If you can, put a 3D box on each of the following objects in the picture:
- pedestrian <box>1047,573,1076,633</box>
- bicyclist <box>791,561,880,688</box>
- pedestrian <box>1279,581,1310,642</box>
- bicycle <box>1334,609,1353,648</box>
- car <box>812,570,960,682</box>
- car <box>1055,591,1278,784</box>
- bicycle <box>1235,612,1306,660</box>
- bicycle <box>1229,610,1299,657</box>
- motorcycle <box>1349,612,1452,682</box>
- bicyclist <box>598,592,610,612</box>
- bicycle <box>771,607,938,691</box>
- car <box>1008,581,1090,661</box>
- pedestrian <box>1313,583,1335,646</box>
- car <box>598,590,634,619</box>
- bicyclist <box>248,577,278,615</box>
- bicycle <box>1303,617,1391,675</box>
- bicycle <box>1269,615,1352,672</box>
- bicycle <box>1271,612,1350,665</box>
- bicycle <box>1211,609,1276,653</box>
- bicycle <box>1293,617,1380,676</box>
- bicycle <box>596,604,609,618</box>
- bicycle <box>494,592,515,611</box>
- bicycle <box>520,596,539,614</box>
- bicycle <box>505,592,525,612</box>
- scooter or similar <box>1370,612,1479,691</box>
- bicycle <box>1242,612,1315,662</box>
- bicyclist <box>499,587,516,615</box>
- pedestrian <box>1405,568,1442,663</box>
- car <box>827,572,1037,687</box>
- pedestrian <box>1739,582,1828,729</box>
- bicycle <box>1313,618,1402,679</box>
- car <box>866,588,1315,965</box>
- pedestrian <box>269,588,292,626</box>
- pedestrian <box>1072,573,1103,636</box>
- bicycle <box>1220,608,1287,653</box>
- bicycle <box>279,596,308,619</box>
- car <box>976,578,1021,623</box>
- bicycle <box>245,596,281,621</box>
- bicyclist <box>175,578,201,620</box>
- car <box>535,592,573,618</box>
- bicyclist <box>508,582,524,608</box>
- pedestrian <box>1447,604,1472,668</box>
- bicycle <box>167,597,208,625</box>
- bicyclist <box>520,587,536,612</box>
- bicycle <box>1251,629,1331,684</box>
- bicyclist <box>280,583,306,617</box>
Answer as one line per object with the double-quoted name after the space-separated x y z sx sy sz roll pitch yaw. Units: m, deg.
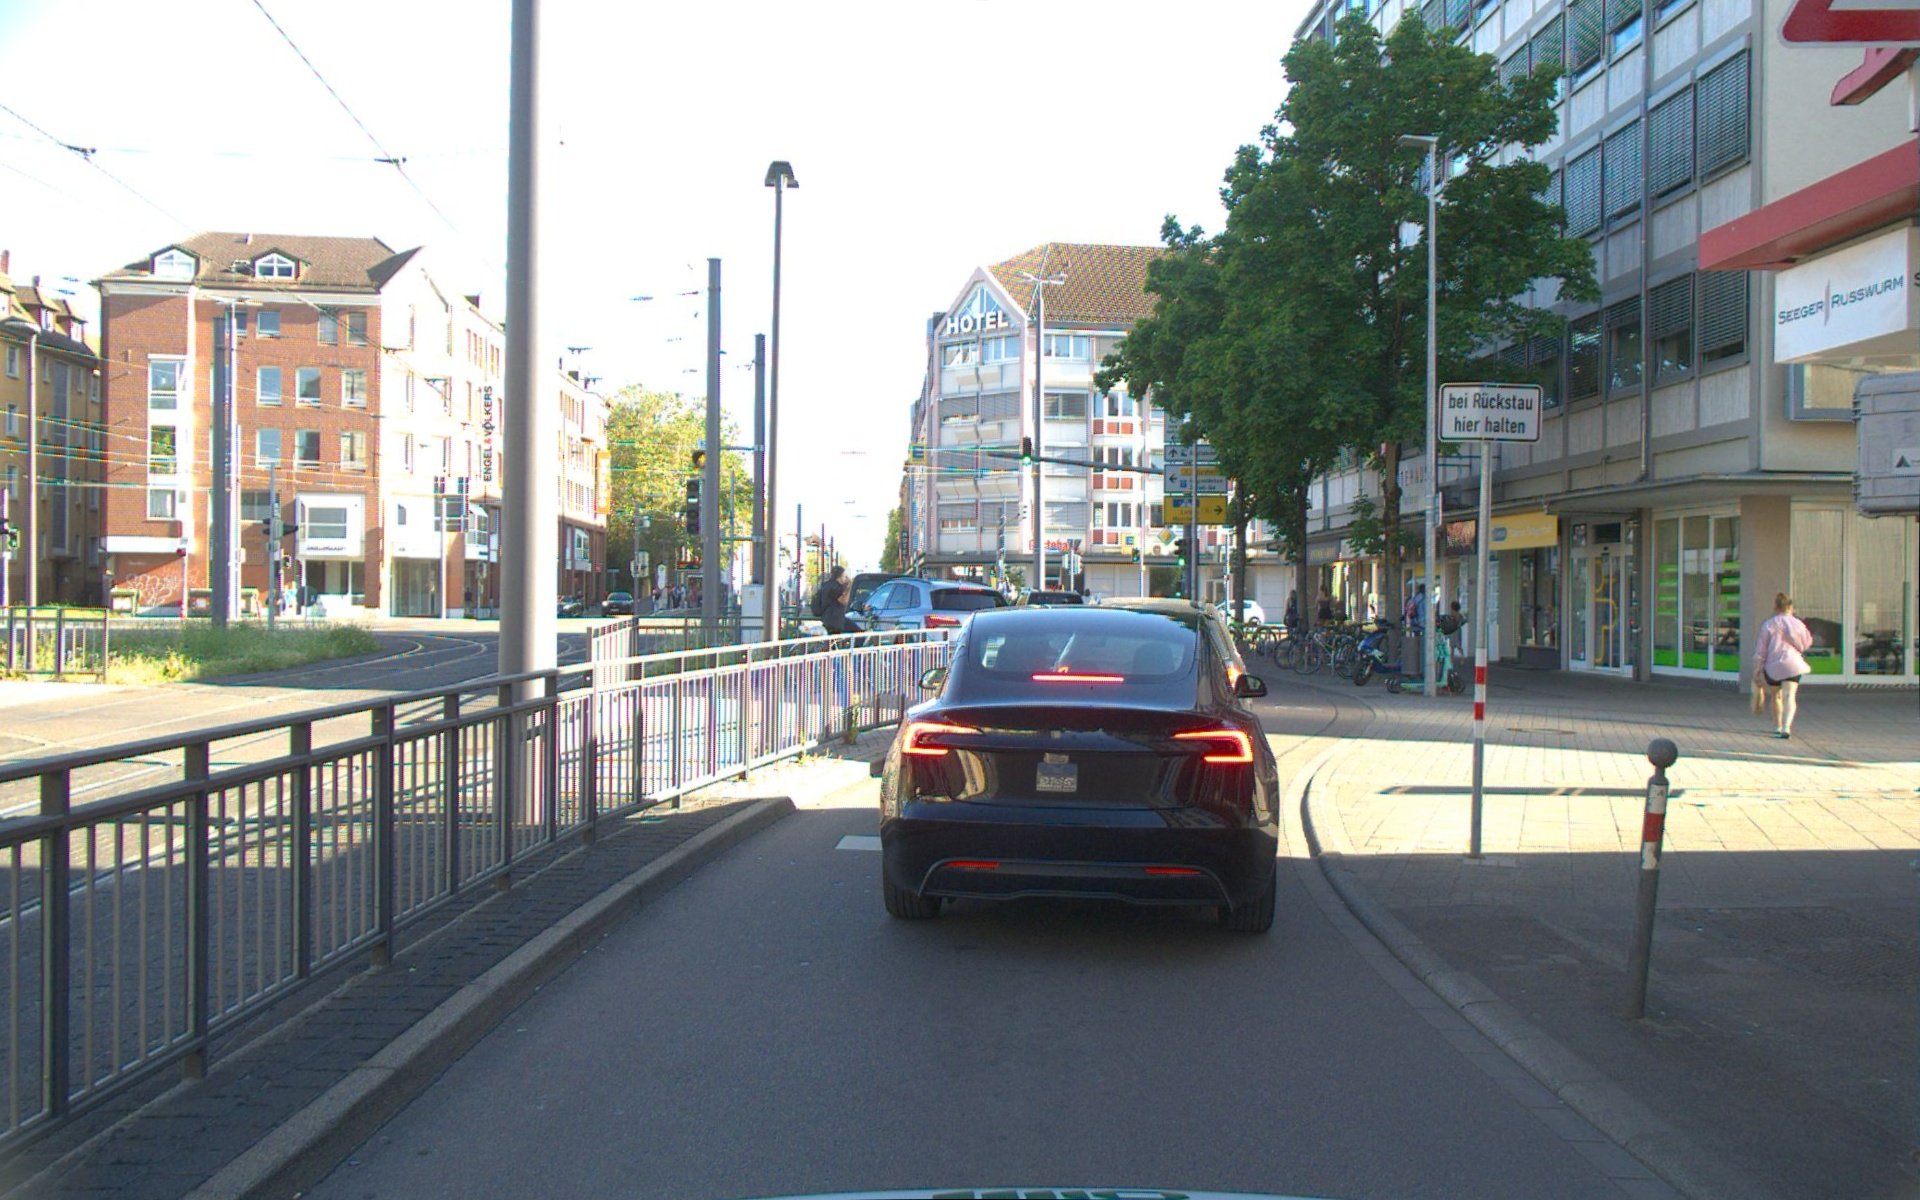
3.525 0.113 57.662 0.902 2.049 0.972 1 -1 -1 "pedestrian"
-1.674 0.320 22.137 0.753 1.657 0.964 1 -1 -39 "bicyclist"
9.397 0.327 46.454 0.685 1.691 0.777 1 -1 -1 "pedestrian"
10.688 0.791 46.146 0.325 1.052 1.257 1 0 4 "bicycle"
-1.522 0.484 32.514 1.962 2.049 3.981 0 0 -17 "car"
1.806 0.671 14.940 1.714 1.480 4.003 1 0 6 "car"
7.401 0.862 39.425 1.616 1.118 0.350 1 -1 1 "bicycle"
7.429 0.815 40.439 1.616 1.118 0.350 1 -1 1 "bicycle"
7.810 0.835 29.368 1.673 1.194 0.541 1 -1 -3 "motorcycle"
-28.815 0.162 133.871 0.767 1.590 0.746 1 -1 1 "bicyclist"
-1.408 0.653 22.387 2.313 1.072 0.622 1 -1 -39 "bicycle"
2.113 0.485 40.085 1.566 1.809 3.978 1 0 -3 "car"
10.233 0.406 46.543 0.515 1.740 0.403 1 -1 0 "pedestrian"
-21.964 0.291 105.713 1.663 1.762 3.704 1 0 -3 "car"
-28.359 -0.163 67.311 0.880 1.529 0.696 1 -1 -1 "bicyclist"
7.385 0.883 31.546 1.620 1.079 0.349 1 -1 -11 "bicycle"
7.097 0.882 33.492 1.620 1.118 0.349 1 -1 -11 "bicycle"
7.501 0.822 35.448 1.616 1.118 0.350 1 -1 1 "bicycle"
7.294 0.797 42.577 1.616 1.118 0.350 1 -1 1 "bicycle"
7.280 0.905 31.968 1.620 1.118 0.349 1 -1 -11 "bicycle"
-28.864 0.851 133.532 0.518 1.107 2.225 1 0 1 "bicycle"
-26.651 0.100 96.752 0.526 1.107 2.225 1 0 1 "bicycle"
-26.743 0.306 102.682 0.518 1.108 2.284 0 0 1 "bicycle"
-26.878 0.117 99.898 0.518 1.107 2.284 4 -1 1 "bicycle"
7.664 0.834 27.291 1.610 1.236 0.644 1 -1 30 "scooter or similar"
7.385 0.861 38.398 1.616 1.118 0.350 1 -1 1 "bicycle"
-26.609 0.069 97.217 0.768 1.590 0.746 1 -1 0 "bicyclist"
10.098 0.339 36.048 0.648 2.049 0.579 1 -1 1 "pedestrian"
-0.545 0.437 26.514 1.859 1.691 4.125 1 0 -25 "car"
9.787 0.647 19.686 0.871 1.696 0.808 1 -1 23 "pedestrian"
7.481 0.913 31.125 1.620 1.118 0.349 1 -1 -11 "bicycle"
0.664 0.716 8.684 1.791 1.481 4.002 1 0 4 "car"
-33.441 0.365 81.430 0.767 1.852 0.746 1 -1 1 "pedestrian"
4.207 0.144 54.436 0.902 2.049 0.972 1 -1 -1 "pedestrian"
7.364 0.772 41.484 1.616 1.118 0.350 0 0 1 "bicycle"
-29.694 0.336 73.668 0.396 0.998 1.695 1 0 7 "bicycle"
1.548 0.040 67.900 1.685 1.781 3.753 1 0 -1 "car"
-28.363 0.329 67.349 0.513 0.988 2.246 1 0 -1 "bicycle"
-28.235 -0.027 60.503 0.620 1.529 0.696 1 -1 -1 "bicyclist"
-25.075 0.283 102.324 1.677 1.553 4.031 1 0 -5 "car"
-26.870 -0.287 100.110 0.767 1.590 0.746 0 0 1 "bicyclist"
10.788 0.777 35.754 0.381 1.367 0.513 1 -1 1 "pedestrian"
-28.234 0.391 60.468 0.437 0.988 2.246 1 0 -1 "bicycle"
-26.693 -0.031 102.175 0.767 1.590 0.746 0 0 1 "bicyclist"
6.882 1.174 34.380 1.620 1.118 0.349 1 -1 -11 "bicycle"
-29.714 -0.015 73.675 0.689 1.496 0.973 0 0 7 "bicyclist"
